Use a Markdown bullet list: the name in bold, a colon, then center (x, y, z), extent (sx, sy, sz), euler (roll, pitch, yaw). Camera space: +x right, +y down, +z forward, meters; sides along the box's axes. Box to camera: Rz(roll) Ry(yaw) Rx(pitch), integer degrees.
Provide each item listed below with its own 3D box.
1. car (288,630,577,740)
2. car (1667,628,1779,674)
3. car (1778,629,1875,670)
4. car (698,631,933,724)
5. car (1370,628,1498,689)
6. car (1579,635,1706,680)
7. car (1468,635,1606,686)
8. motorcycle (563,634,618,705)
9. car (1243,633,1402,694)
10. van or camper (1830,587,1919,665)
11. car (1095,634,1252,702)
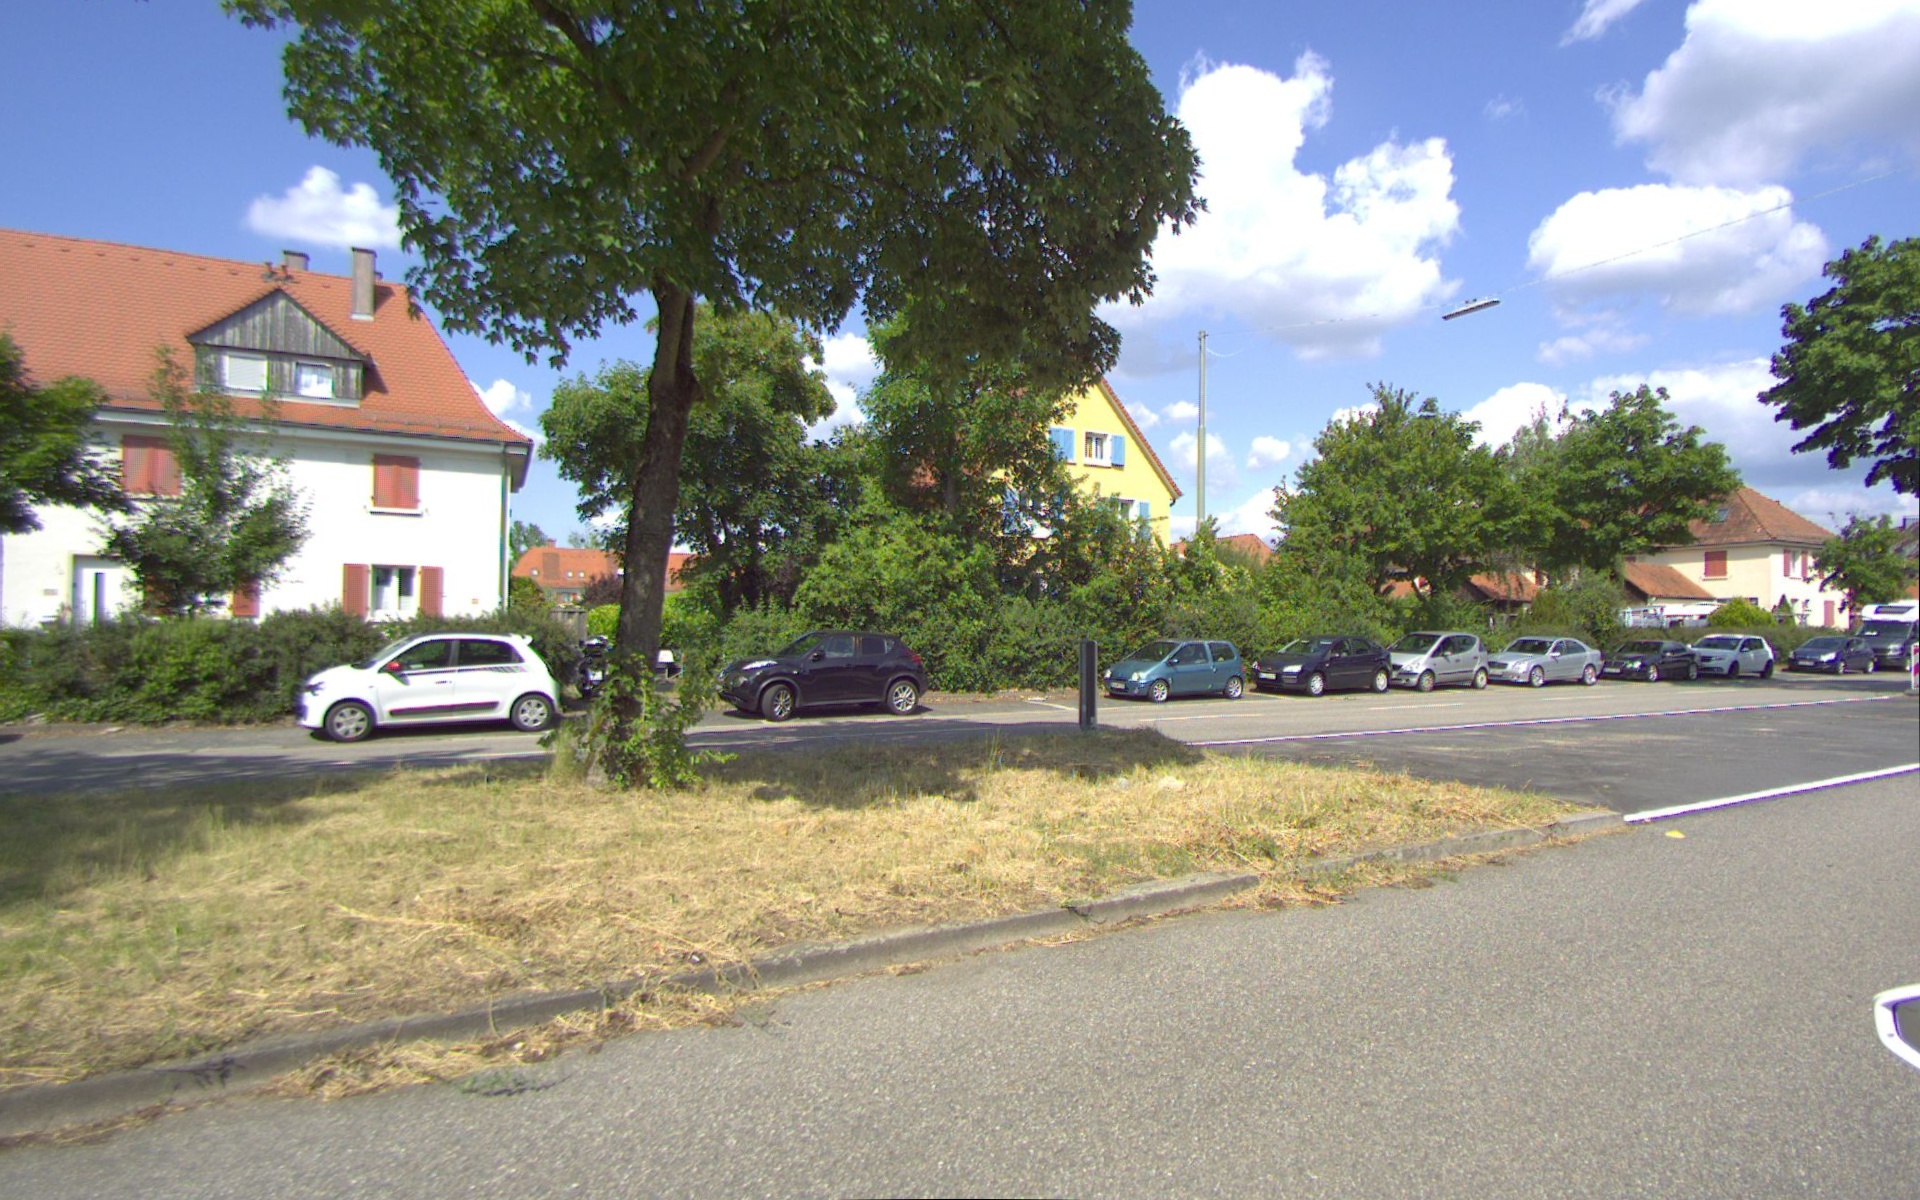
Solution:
- **car**: center (-8.178, 1.270, 15.760), extent (3.803, 1.471, 1.652), euler (2, 0, -31)
- **car**: center (27.667, 1.844, 36.407), extent (4.073, 1.505, 1.682), euler (2, 0, -28)
- **car**: center (34.800, 1.989, 40.314), extent (3.943, 1.505, 1.629), euler (2, 0, -28)
- **car**: center (-2.668, 1.375, 18.847), extent (4.056, 1.501, 1.652), euler (1, 1, -31)
- **car**: center (13.315, 1.604, 28.179), extent (3.698, 1.578, 1.396), euler (1, 1, -30)
- **car**: center (22.976, 1.900, 33.783), extent (4.527, 1.324, 1.629), euler (1, 1, -28)
- **car**: center (17.475, 1.791, 30.369), extent (4.475, 1.388, 1.504), euler (1, 1, -29)
- **motorcycle**: center (-7.722, 1.417, 20.966), extent (0.738, 1.313, 1.854), euler (2, 0, -30)
- **car**: center (9.354, 1.585, 25.784), extent (4.306, 1.413, 1.396), euler (1, 1, -30)
- **van or camper**: center (41.112, 1.089, 43.875), extent (7.229, 3.154, 2.249), euler (1, 1, -29)
- **car**: center (5.015, 1.555, 23.506), extent (3.437, 1.413, 1.555), euler (2, 0, -30)
